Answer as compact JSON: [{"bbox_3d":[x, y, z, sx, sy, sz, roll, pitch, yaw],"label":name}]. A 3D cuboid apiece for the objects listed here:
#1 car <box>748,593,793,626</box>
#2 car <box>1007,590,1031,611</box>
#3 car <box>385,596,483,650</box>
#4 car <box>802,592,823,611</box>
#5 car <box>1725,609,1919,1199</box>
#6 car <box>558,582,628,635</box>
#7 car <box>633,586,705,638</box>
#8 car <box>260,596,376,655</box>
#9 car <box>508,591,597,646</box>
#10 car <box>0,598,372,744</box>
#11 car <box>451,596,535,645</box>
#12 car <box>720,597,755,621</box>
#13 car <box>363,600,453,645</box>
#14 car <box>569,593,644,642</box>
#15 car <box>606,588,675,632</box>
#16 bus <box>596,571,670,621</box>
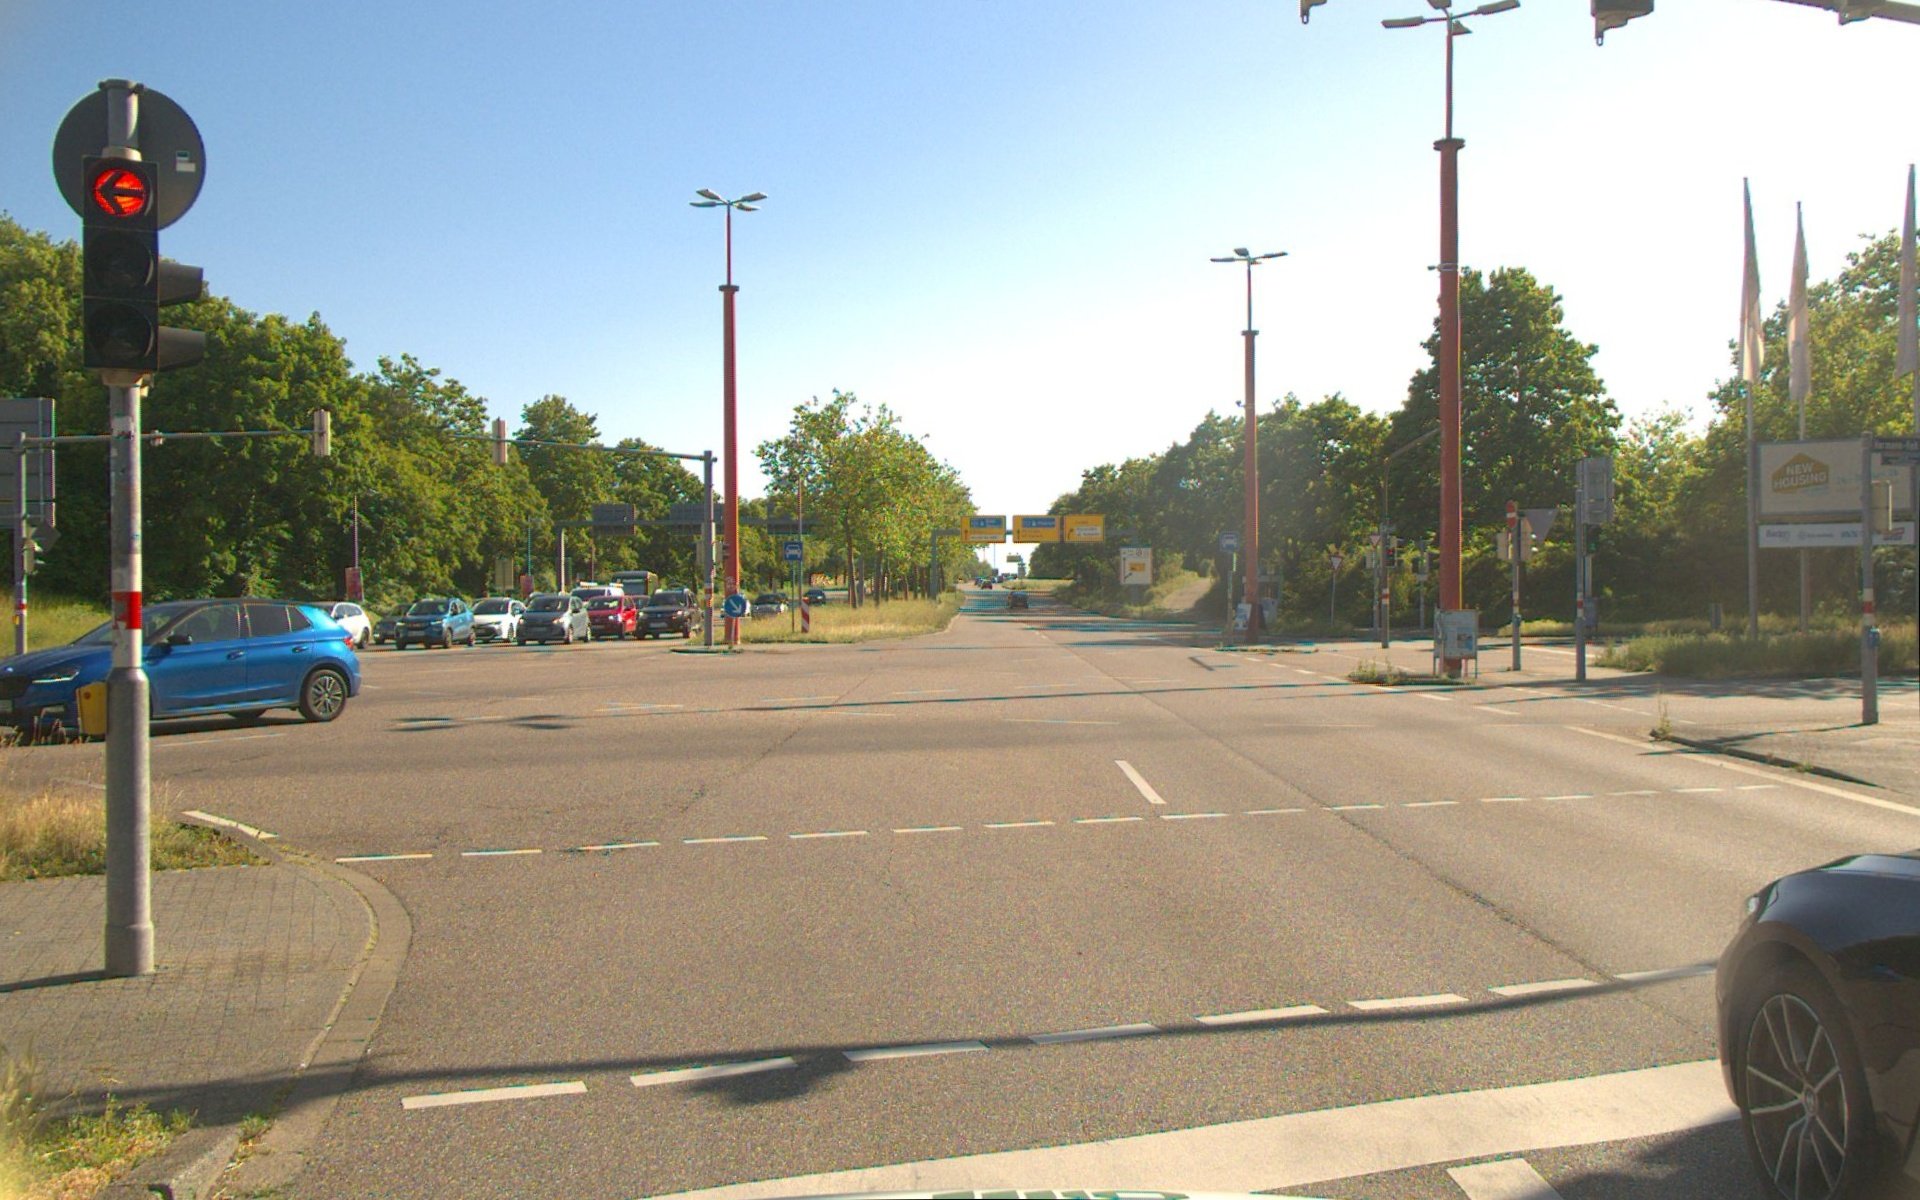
[{"bbox_3d":[-9.690,0.463,84.804,1.847,1.570,3.999,-2,0,-1],"label":"car"},{"bbox_3d":[5.349,0.059,149.374,1.953,1.764,3.999,1,0,-1],"label":"car"},{"bbox_3d":[-16.108,0.688,50.863,1.764,1.542,3.858,-2,0,0],"label":"car"},{"bbox_3d":[-14.972,0.166,167.821,1.800,1.869,3.960,0,0,-1],"label":"car"},{"bbox_3d":[2.892,0.763,2.296,1.727,1.466,4.295,1,0,1],"label":"car"},{"bbox_3d":[-15.625,0.338,70.574,1.922,2.193,5.080,-1,0,-1],"label":"car"},{"bbox_3d":[-9.843,0.391,56.198,1.757,1.654,4.142,-2,0,-2],"label":"car"},{"bbox_3d":[-19.546,0.743,50.528,1.838,1.681,4.219,-1,0,0],"label":"car"},{"bbox_3d":[-12.773,0.557,52.075,1.836,1.577,4.027,-2,1,-1],"label":"car"},{"bbox_3d":[-8.758,0.719,18.700,1.545,1.445,3.901,0,0,31],"label":"car"},{"bbox_3d":[-16.036,0.670,57.015,1.863,1.582,3.998,-1,0,-2],"label":"car"},{"bbox_3d":[-15.284,0.585,113.719,1.847,1.570,3.999,-2,0,-1],"label":"car"},{"bbox_3d":[-19.892,0.782,59.781,1.846,1.539,4.000,-1,0,0],"label":"car"},{"bbox_3d":[-12.450,0.589,58.418,1.838,1.579,3.998,-3,0,-2],"label":"car"},{"bbox_3d":[-12.409,0.374,64.418,1.862,1.658,4.000,0,0,1],"label":"car"},{"bbox_3d":[-22.915,-0.230,116.737,2.591,3.318,12.535,1,0,0],"label":"bus"}]
